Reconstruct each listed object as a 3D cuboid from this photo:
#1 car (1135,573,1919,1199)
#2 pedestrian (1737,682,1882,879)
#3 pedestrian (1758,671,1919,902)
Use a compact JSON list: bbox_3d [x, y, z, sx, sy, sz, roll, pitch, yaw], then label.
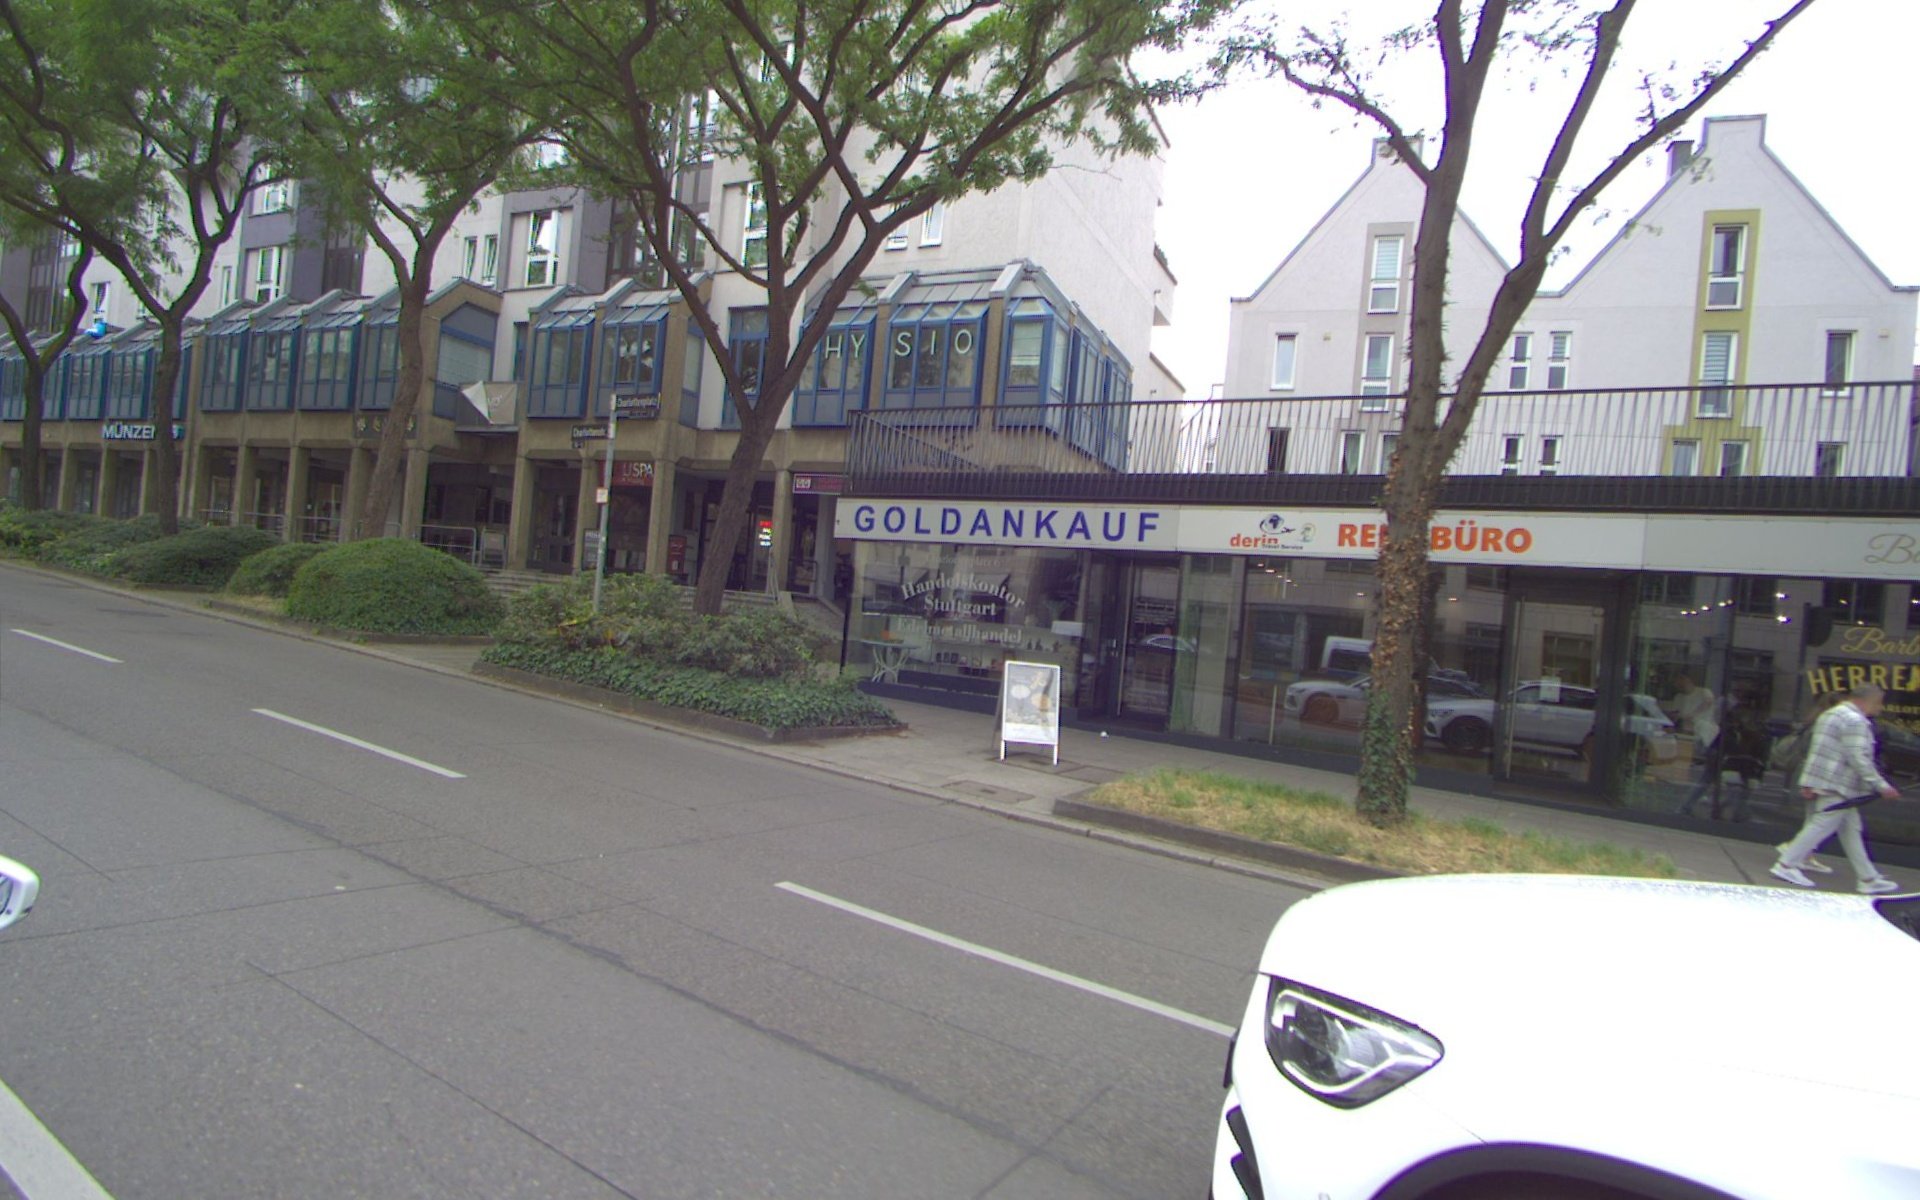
[{"bbox_3d":[2.634,1.013,1.566,4.262,1.668,1.803,6,1,32],"label":"car"},{"bbox_3d":[7.873,1.643,9.362,0.744,1.650,0.596,7,2,26],"label":"pedestrian"},{"bbox_3d":[7.700,1.567,8.733,0.924,1.776,0.596,7,2,26],"label":"pedestrian"}]
